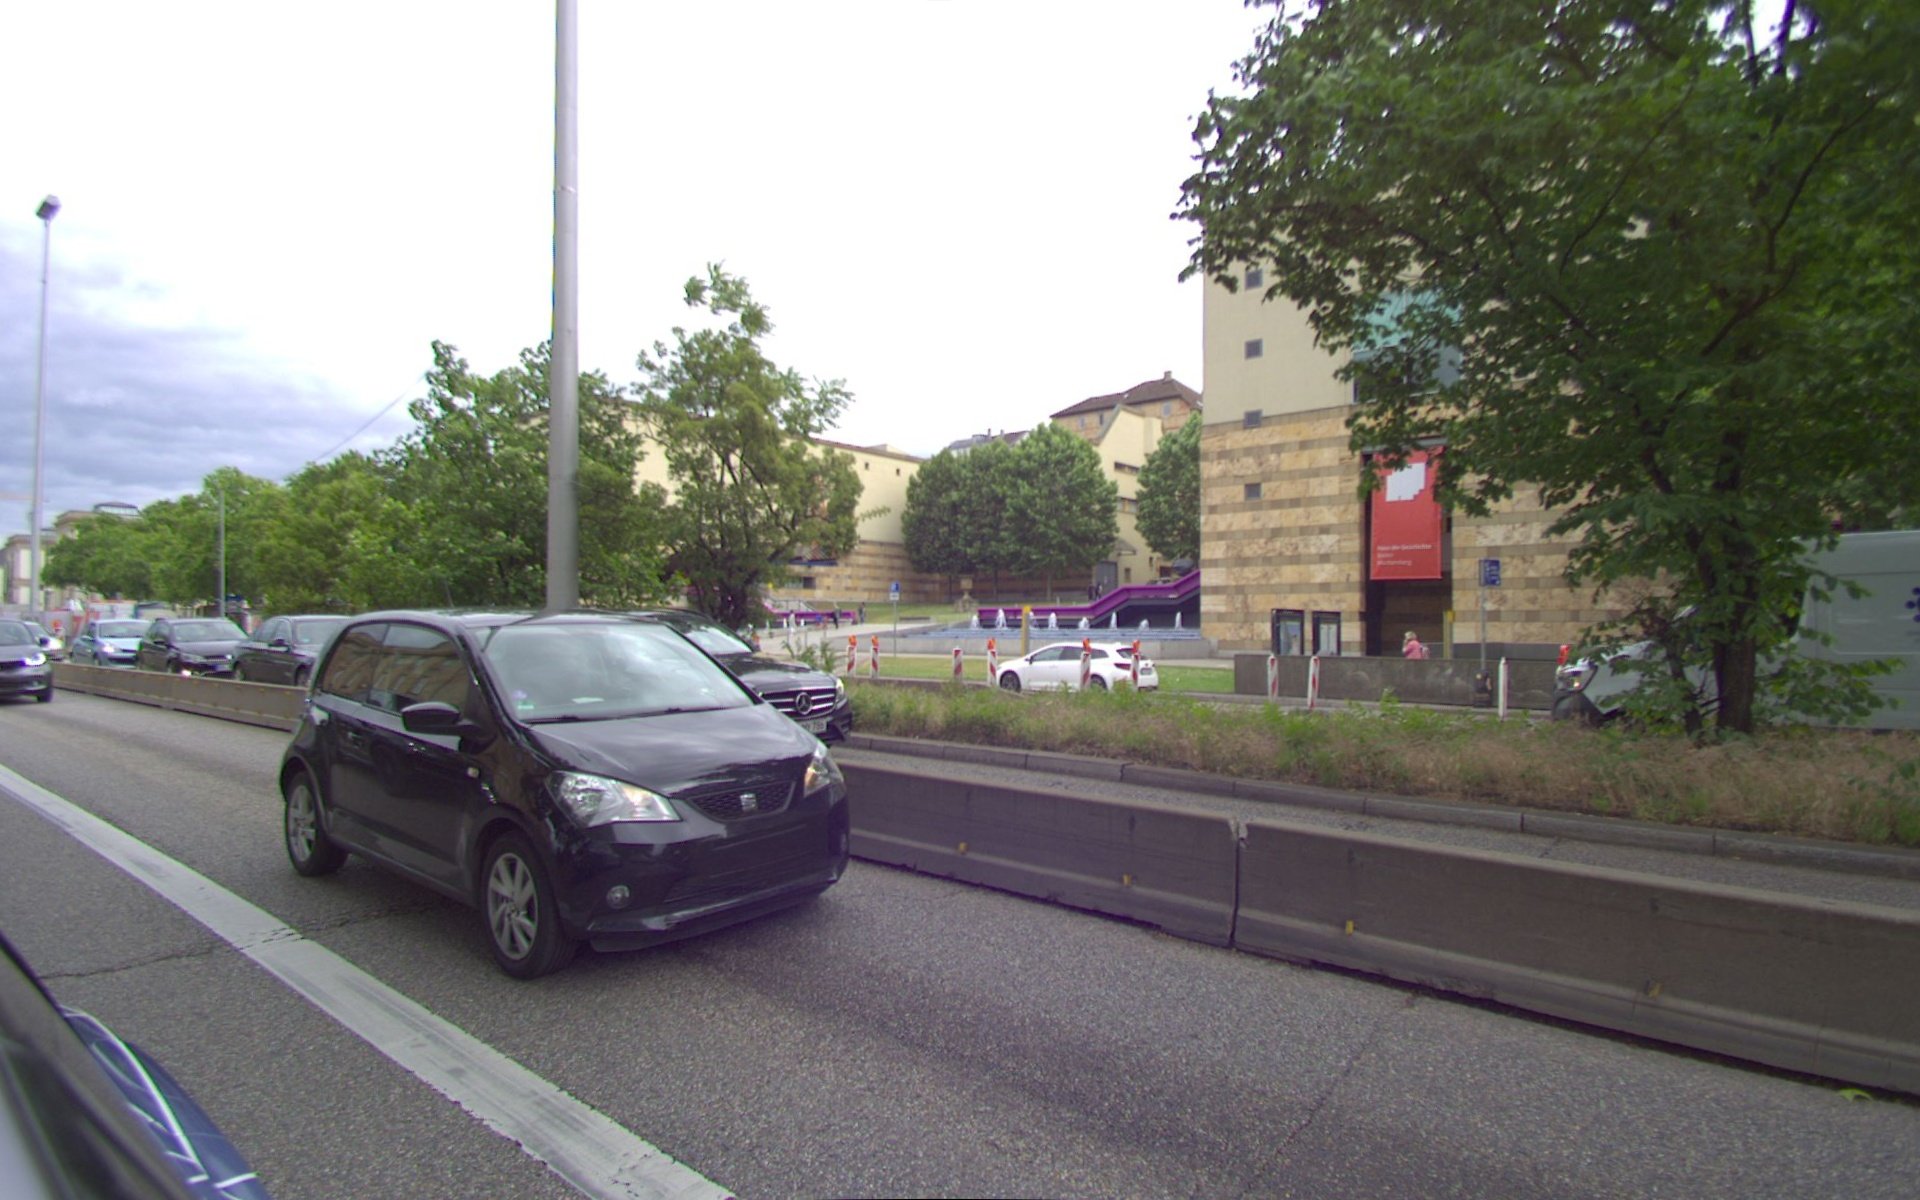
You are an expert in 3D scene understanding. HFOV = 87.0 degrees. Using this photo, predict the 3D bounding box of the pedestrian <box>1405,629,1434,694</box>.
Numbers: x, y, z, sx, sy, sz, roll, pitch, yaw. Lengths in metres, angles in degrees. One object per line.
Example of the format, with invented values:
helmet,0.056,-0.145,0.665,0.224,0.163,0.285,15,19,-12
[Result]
pedestrian,11.192,1.479,24.629,0.526,1.543,0.556,-2,-2,36

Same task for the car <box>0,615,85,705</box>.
car,-17.641,1.048,18.622,3.996,1.516,1.669,-1,-1,39

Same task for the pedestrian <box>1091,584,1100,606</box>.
pedestrian,11.284,-0.425,84.336,0.477,1.762,0.639,-1,-1,39

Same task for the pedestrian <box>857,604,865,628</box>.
pedestrian,-6.838,1.118,70.112,0.405,1.623,0.343,-1,0,41

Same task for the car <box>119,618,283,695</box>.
car,-16.136,1.126,21.458,4.190,1.465,1.644,-1,-1,36

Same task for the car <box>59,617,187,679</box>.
car,-22.052,1.215,26.633,3.845,1.518,1.658,-1,-1,35

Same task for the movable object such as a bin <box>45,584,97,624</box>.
movable object such as a bin,-51.018,0.252,58.074,3.286,2.202,1.508,-1,-2,36

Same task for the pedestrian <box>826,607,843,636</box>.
pedestrian,-8.286,1.425,66.899,0.803,1.867,0.685,-1,0,41

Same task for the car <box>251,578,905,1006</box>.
car,-2.156,0.706,5.284,3.618,1.484,1.592,-1,-2,39

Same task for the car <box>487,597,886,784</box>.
car,-3.030,0.770,10.505,4.770,1.510,1.796,-1,-1,44

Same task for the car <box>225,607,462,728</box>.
car,-9.983,0.966,16.207,4.934,1.648,1.903,-1,-1,42

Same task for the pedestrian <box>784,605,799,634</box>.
pedestrian,-10.787,1.249,64.794,0.682,1.867,0.806,-1,0,-27

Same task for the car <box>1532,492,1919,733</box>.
car,8.547,0.126,9.147,5.575,1.984,2.093,-2,-2,41

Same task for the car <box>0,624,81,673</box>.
car,-31.090,1.542,33.356,4.687,1.492,1.865,-1,-1,31

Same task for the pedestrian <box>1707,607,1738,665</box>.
pedestrian,21.193,0.989,28.124,0.620,1.581,0.434,-1,-2,33

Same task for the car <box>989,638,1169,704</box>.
car,3.018,1.763,26.250,4.520,1.538,1.628,-2,-2,41
